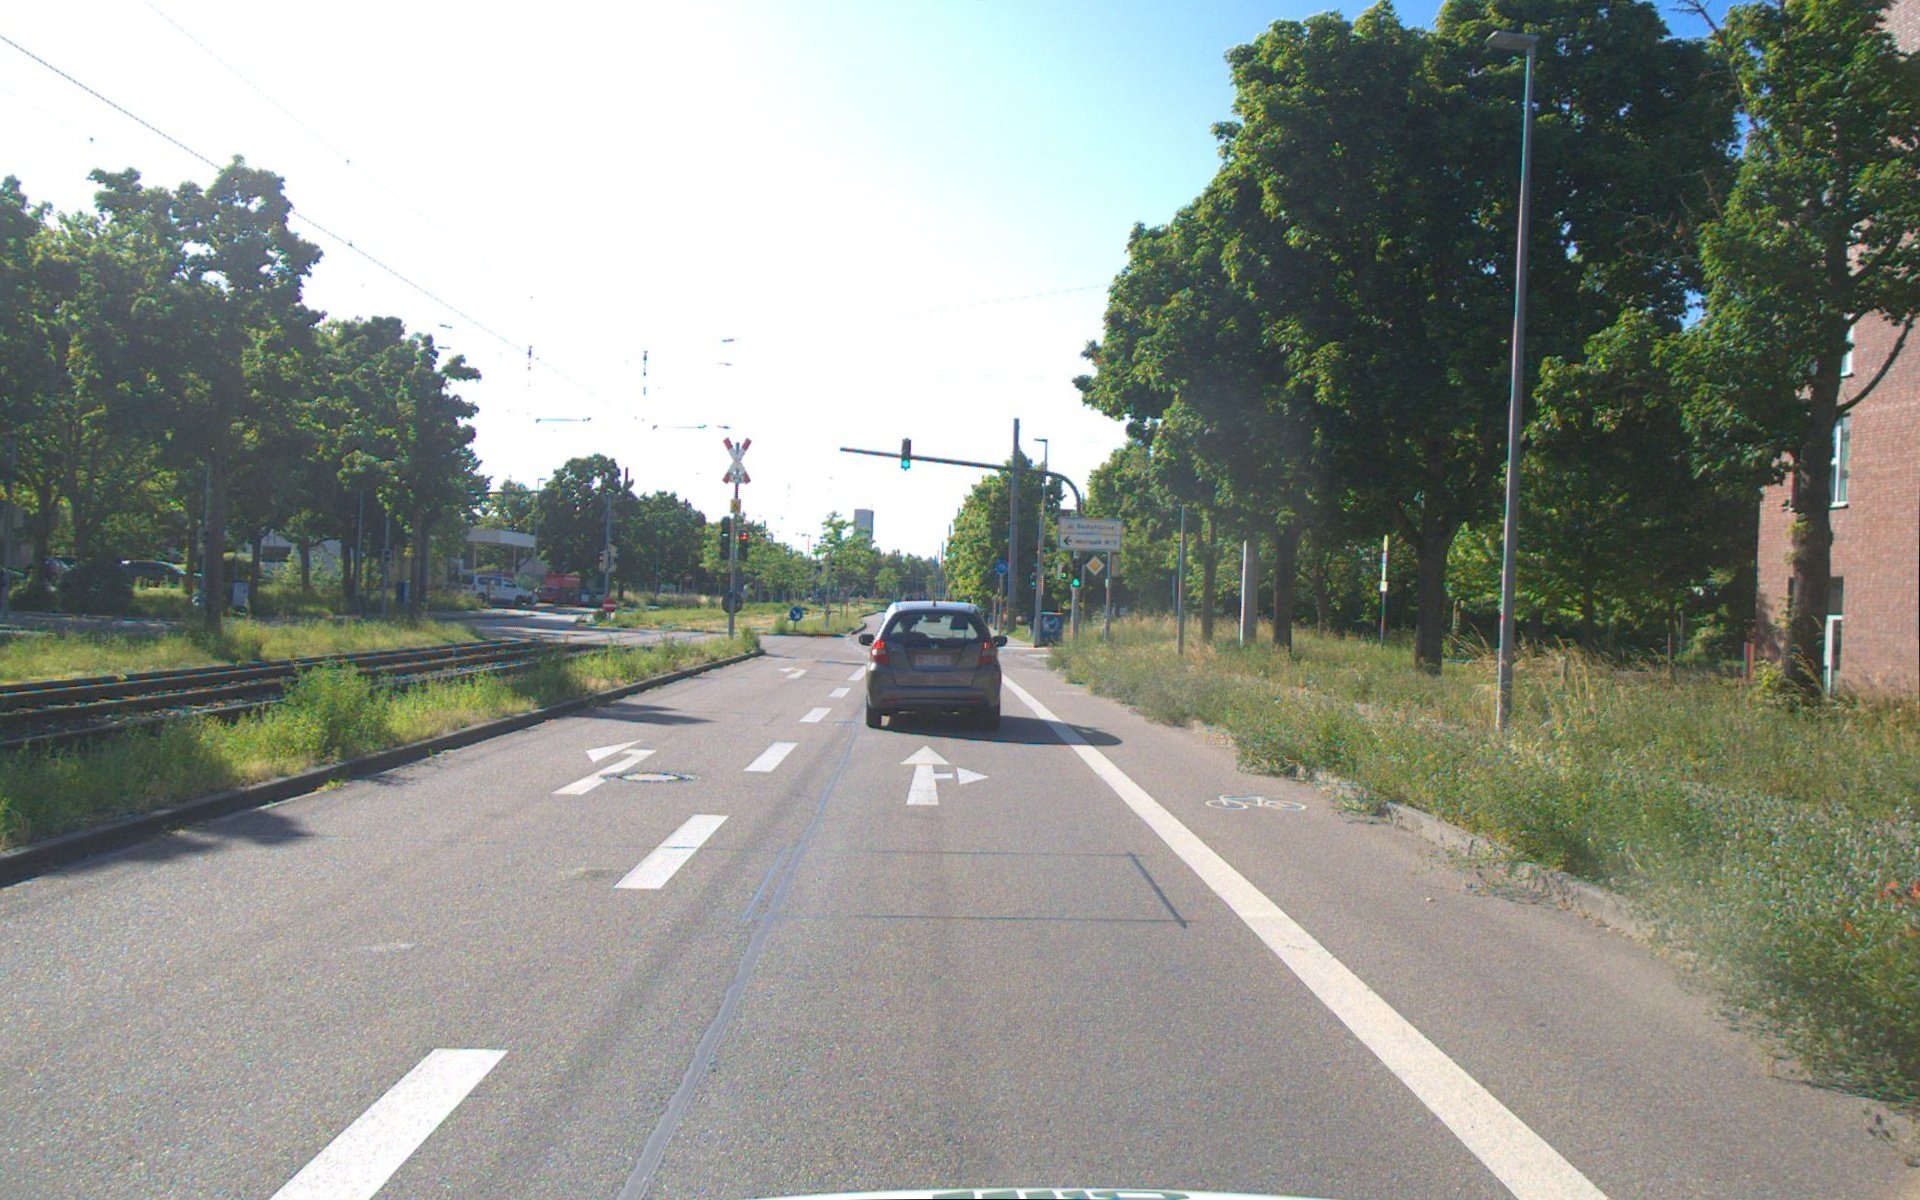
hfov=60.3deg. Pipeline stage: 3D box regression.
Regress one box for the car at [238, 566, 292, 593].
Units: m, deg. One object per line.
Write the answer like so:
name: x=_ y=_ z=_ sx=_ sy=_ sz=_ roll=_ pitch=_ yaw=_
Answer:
car: x=-43.491 y=-1.273 z=103.569 sx=1.545 sy=1.571 sz=4.089 roll=3 pitch=0 yaw=1

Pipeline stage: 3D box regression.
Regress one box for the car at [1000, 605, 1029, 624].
car: x=4.176 y=1.120 z=126.850 sx=1.739 sy=1.411 sz=3.866 roll=1 pitch=0 yaw=-5

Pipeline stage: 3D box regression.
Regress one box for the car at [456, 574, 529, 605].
car: x=-32.833 y=-0.715 z=116.299 sx=1.825 sy=2.008 sz=4.764 roll=2 pitch=0 yaw=38

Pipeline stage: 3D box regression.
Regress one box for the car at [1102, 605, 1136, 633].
car: x=12.203 y=1.467 z=127.123 sx=1.834 sy=2.001 sz=5.164 roll=3 pitch=0 yaw=-2

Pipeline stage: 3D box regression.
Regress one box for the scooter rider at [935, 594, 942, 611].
scooter rider: x=-2.522 y=0.254 z=192.811 sx=0.702 sy=1.934 sz=0.934 roll=2 pitch=-1 yaw=-4

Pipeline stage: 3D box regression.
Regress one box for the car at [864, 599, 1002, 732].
car: x=-0.297 y=0.771 z=21.105 sx=1.591 sy=1.526 sz=3.457 roll=1 pitch=0 yaw=1

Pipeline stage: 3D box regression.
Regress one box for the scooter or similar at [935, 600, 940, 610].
scooter or similar: x=-2.629 y=0.627 z=192.892 sx=0.528 sy=1.138 sz=1.416 roll=2 pitch=0 yaw=-4

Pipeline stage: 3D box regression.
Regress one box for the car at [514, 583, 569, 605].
car: x=-33.610 y=-0.480 z=132.936 sx=3.991 sy=1.596 sz=1.790 roll=2 pitch=0 yaw=-5

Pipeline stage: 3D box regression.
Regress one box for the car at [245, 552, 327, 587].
car: x=-45.193 y=-2.039 z=111.000 sx=4.628 sy=2.128 sz=2.019 roll=2 pitch=0 yaw=-4
